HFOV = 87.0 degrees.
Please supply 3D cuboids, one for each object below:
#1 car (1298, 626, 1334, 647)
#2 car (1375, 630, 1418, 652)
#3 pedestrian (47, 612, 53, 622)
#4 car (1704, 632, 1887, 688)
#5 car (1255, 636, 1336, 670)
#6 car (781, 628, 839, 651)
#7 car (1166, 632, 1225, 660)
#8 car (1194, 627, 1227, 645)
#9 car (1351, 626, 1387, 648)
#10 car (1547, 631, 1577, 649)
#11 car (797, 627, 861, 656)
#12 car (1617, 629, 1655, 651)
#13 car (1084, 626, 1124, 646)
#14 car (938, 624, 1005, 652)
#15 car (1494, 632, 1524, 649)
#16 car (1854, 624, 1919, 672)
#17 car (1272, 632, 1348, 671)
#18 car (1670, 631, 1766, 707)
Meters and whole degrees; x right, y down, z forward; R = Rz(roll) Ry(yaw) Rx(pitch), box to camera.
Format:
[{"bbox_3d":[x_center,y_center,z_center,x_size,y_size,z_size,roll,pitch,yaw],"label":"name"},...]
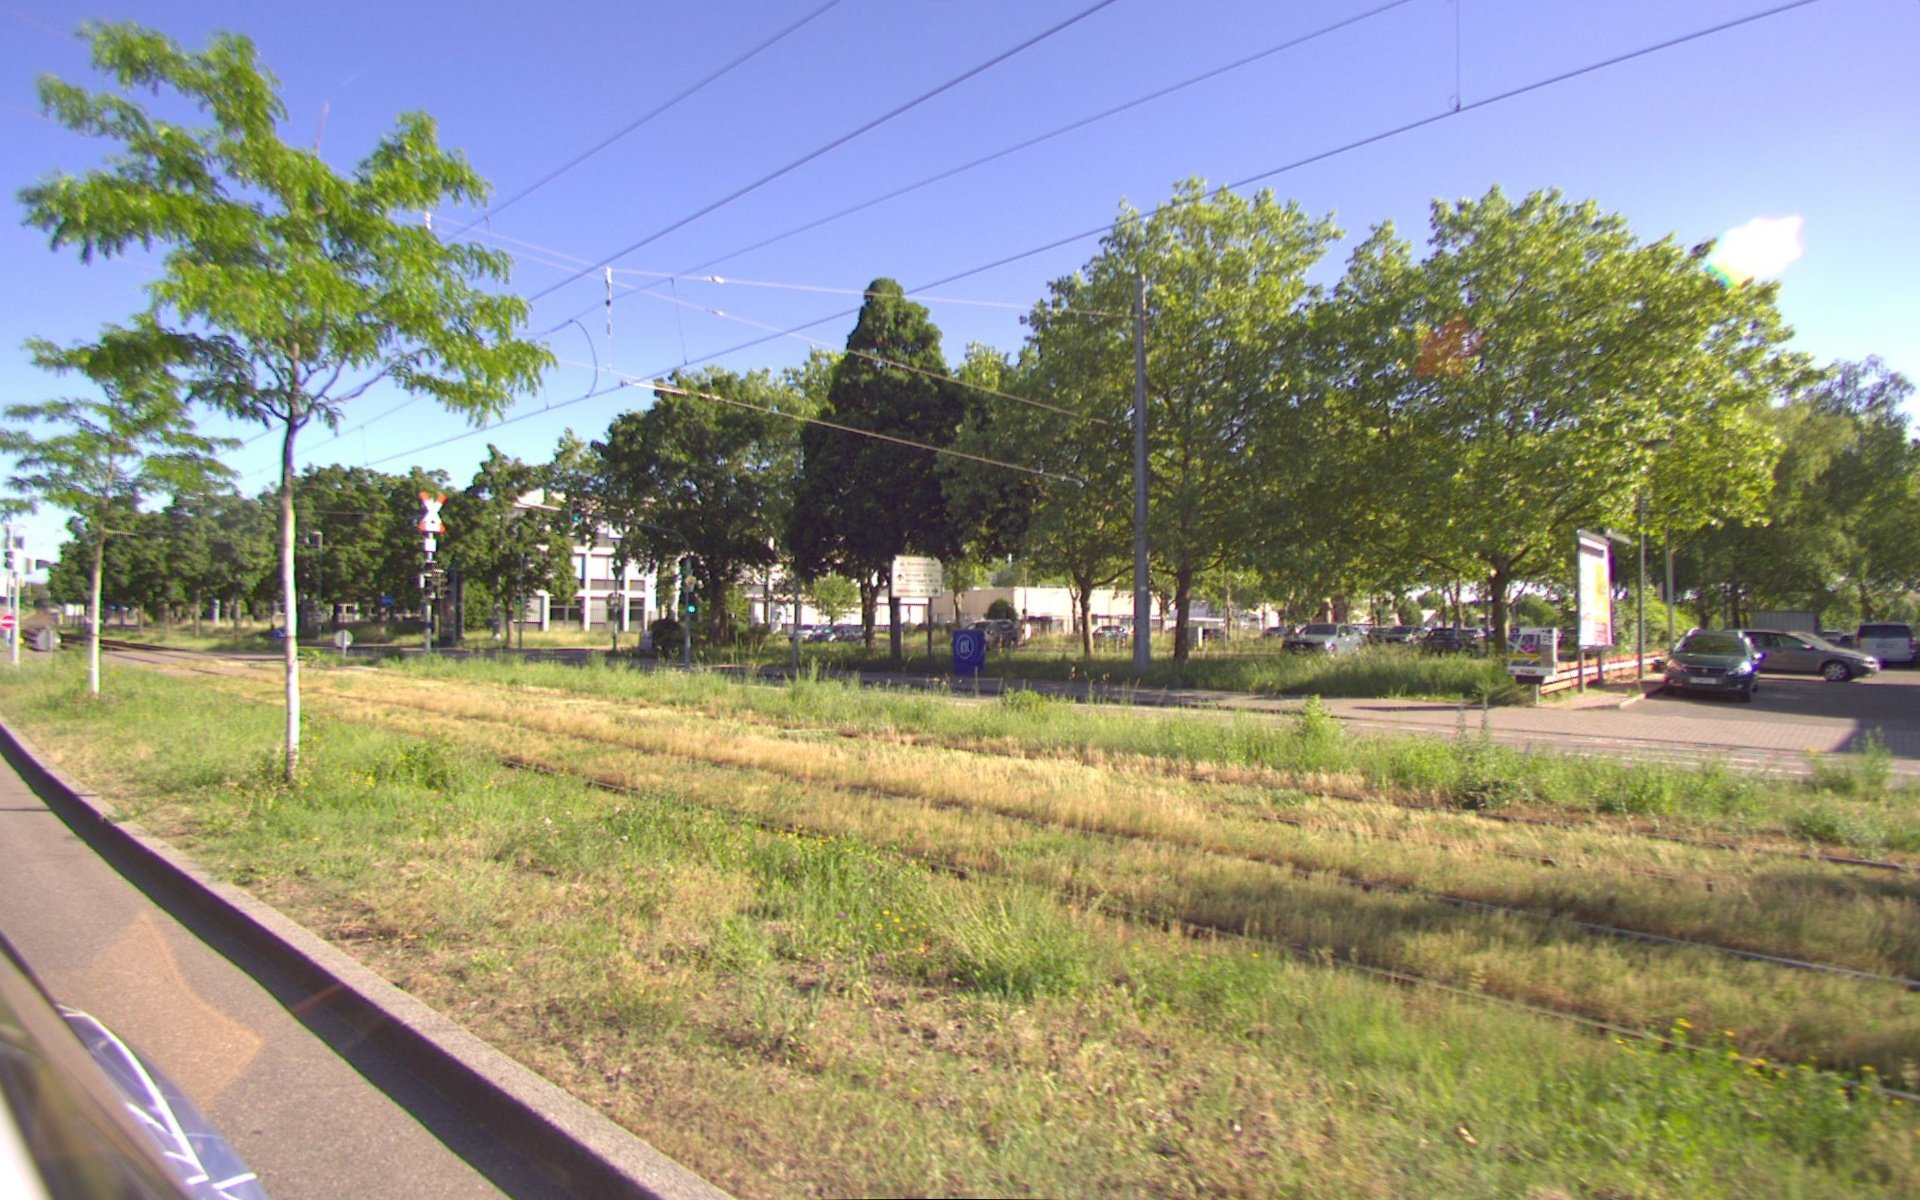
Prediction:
[{"bbox_3d":[29.615,3.001,84.082,1.827,1.681,3.952,-1,-2,35],"label":"car"},{"bbox_3d":[29.745,2.760,68.862,1.744,1.460,3.927,-1,-2,38],"label":"car"},{"bbox_3d":[-154.797,2.889,172.163,0.774,1.765,0.782,2,-3,-43],"label":"pedestrian"},{"bbox_3d":[25.069,1.742,30.474,1.559,1.556,4.092,2,-2,-43],"label":"car"},{"bbox_3d":[12.666,1.960,38.070,1.664,1.176,3.926,-1,-2,39],"label":"car"},{"bbox_3d":[-11.329,2.986,76.552,1.983,1.652,4.383,-1,-3,32],"label":"car"},{"bbox_3d":[13.078,2.519,56.057,1.664,1.443,3.927,-1,-2,38],"label":"car"},{"bbox_3d":[24.129,3.443,97.336,1.827,1.618,3.952,-1,-2,35],"label":"car"},{"bbox_3d":[32.839,2.976,81.176,1.827,1.681,3.952,-1,-2,35],"label":"car"},{"bbox_3d":[51.011,3.383,85.717,1.664,1.443,3.927,-1,-2,38],"label":"car"},{"bbox_3d":[-7.955,2.517,61.610,1.824,1.681,3.957,-1,-2,31],"label":"car"},{"bbox_3d":[45.815,2.713,68.521,1.845,1.443,3.927,-1,-2,38],"label":"car"},{"bbox_3d":[12.292,3.053,86.403,1.827,1.681,3.952,-1,-2,35],"label":"car"},{"bbox_3d":[0.640,2.016,52.768,1.865,1.392,3.959,-1,-3,30],"label":"car"},{"bbox_3d":[48.009,3.542,88.463,1.664,1.443,3.927,-1,-2,38],"label":"car"},{"bbox_3d":[37.975,1.938,41.431,1.905,1.874,4.034,-1,-2,40],"label":"car"},{"bbox_3d":[13.780,2.013,39.716,1.664,1.443,3.927,-2,-3,38],"label":"car"},{"bbox_3d":[18.471,1.598,24.640,1.728,1.537,3.927,2,1,38],"label":"car"}]
